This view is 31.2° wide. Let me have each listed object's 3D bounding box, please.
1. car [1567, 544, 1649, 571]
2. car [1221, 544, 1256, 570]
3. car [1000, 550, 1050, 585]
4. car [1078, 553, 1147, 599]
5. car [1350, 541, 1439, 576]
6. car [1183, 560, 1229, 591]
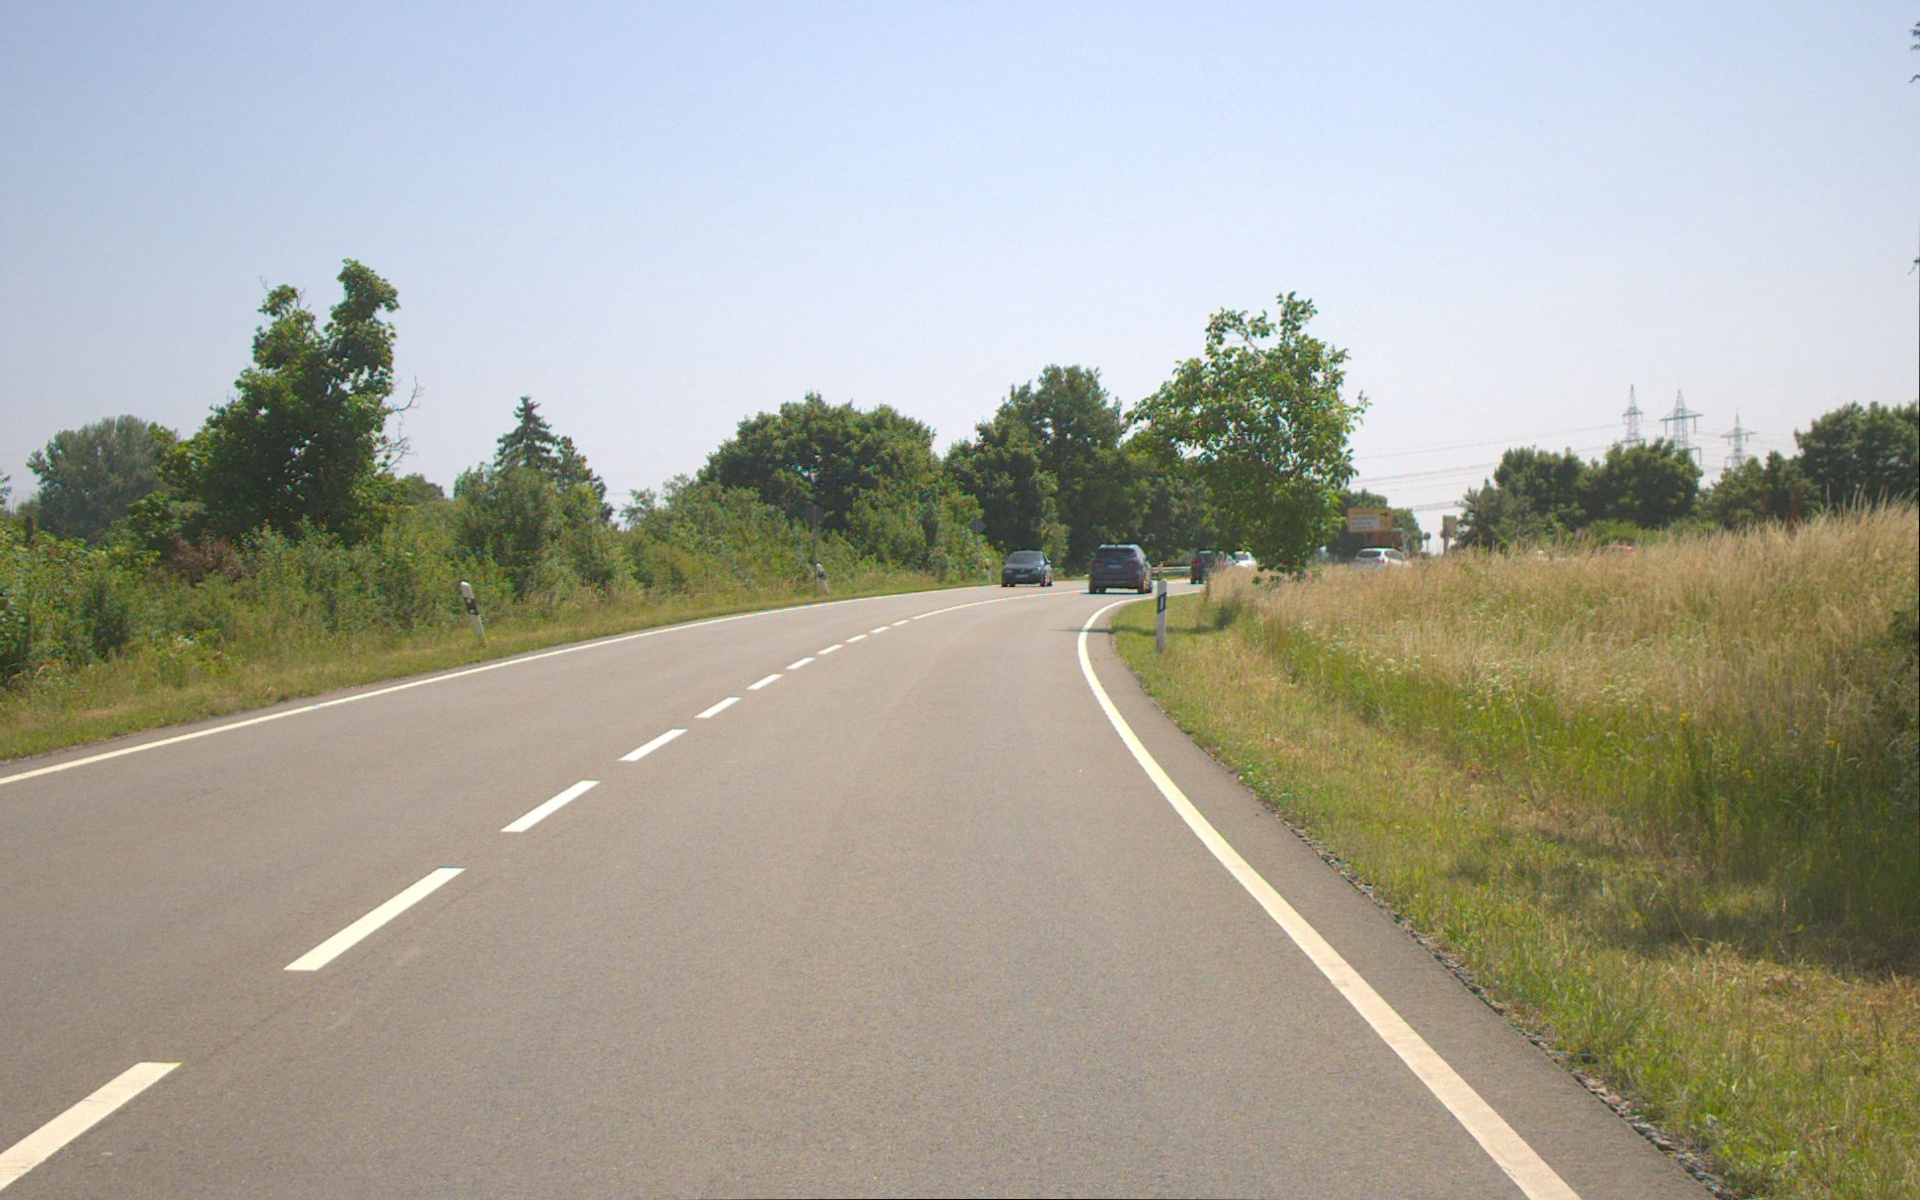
[{"bbox_3d":[35.714,-2.329,189.426,4.158,1.414,1.777,0,0,24],"label":"car"},{"bbox_3d":[16.163,-2.481,199.298,1.836,1.414,4.714,1,1,7],"label":"car"},{"bbox_3d":[2.592,-1.283,136.513,1.693,1.358,3.825,1,1,5],"label":"car"},{"bbox_3d":[5.228,-0.813,117.397,1.885,1.513,4.038,1,1,9],"label":"car"},{"bbox_3d":[21.132,-2.028,167.148,4.130,1.618,2.070,-1,1,-40],"label":"car"},{"bbox_3d":[10.908,-1.083,152.216,1.644,1.336,4.038,1,1,9],"label":"car"}]
